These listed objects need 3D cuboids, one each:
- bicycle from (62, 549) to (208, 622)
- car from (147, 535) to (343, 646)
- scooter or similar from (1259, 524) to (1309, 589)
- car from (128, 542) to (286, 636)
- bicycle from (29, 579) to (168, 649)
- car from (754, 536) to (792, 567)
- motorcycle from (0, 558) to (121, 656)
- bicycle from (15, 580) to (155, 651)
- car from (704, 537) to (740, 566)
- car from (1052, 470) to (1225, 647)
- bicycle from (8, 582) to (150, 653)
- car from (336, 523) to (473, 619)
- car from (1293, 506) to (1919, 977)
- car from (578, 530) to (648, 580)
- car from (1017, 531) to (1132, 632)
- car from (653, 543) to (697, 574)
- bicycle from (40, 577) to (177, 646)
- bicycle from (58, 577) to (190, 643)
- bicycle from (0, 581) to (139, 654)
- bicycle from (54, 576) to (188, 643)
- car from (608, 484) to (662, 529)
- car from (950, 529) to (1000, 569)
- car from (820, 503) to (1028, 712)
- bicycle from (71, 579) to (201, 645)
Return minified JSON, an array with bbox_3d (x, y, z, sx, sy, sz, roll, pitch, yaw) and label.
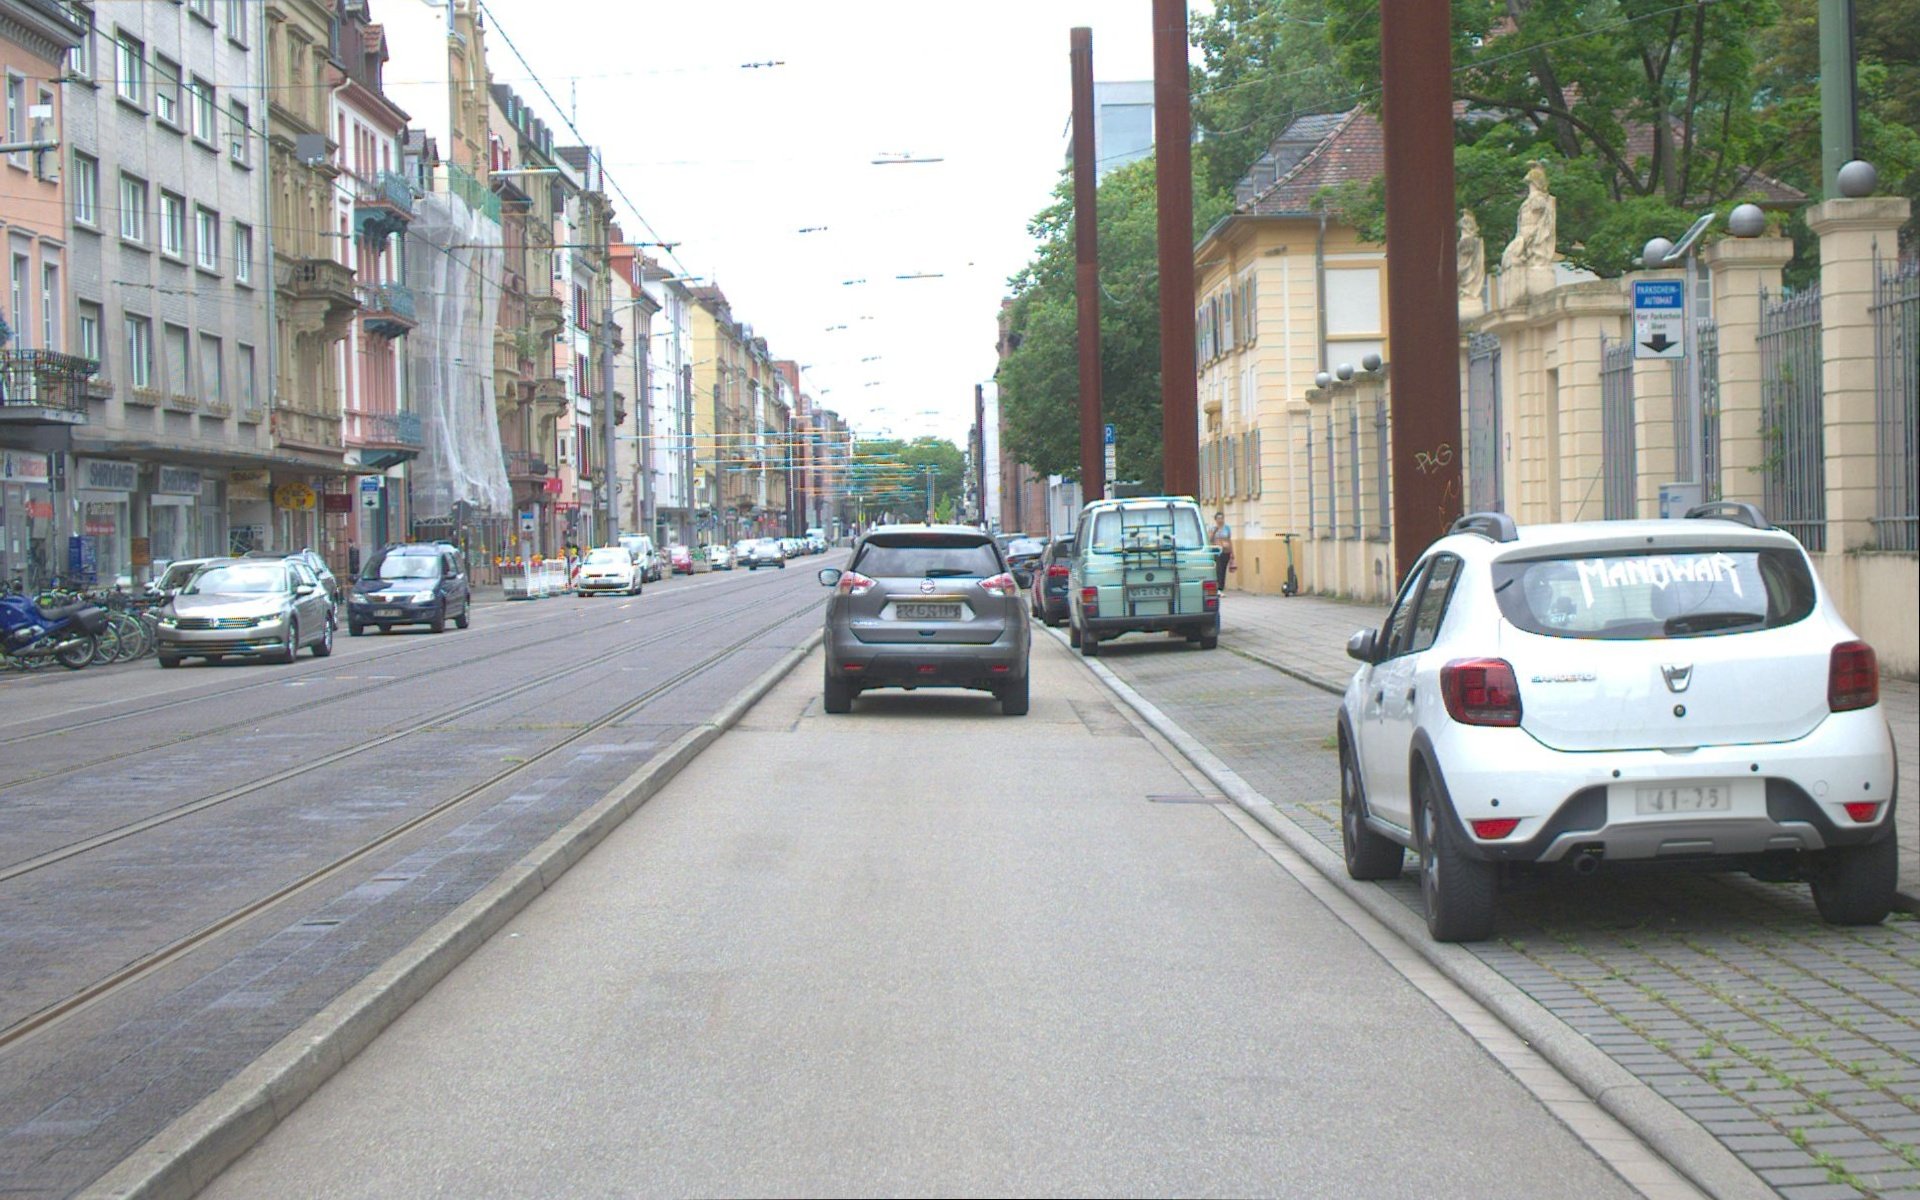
[{"bbox_3d":[-13.386,-0.238,55.822,2.230,1.122,0.504,-1,1,-8],"label":"bicycle"},{"bbox_3d":[-9.936,-0.169,48.084,1.759,1.444,4.614,-1,1,0],"label":"car"},{"bbox_3d":[6.364,-0.841,67.590,0.747,1.246,1.919,-1,0,-1],"label":"scooter or similar"},{"bbox_3d":[-12.969,-0.219,59.453,1.776,1.499,4.402,-1,1,-1],"label":"car"},{"bbox_3d":[-12.968,0.208,51.781,1.965,0.998,0.463,-1,1,-8],"label":"bicycle"},{"bbox_3d":[-10.199,-2.650,187.305,1.993,1.629,4.000,-1,0,-3],"label":"car"},{"bbox_3d":[-12.992,0.097,47.891,2.337,1.298,0.883,-2,1,-36],"label":"motorcycle"},{"bbox_3d":[-13.026,0.230,51.220,1.965,0.998,0.463,-1,1,-8],"label":"bicycle"},{"bbox_3d":[-13.554,-2.759,196.143,1.993,1.629,4.000,-1,0,-3],"label":"car"},{"bbox_3d":[2.315,-0.569,45.753,1.851,2.108,4.985,-4,1,-1],"label":"car"},{"bbox_3d":[-12.950,0.254,50.554,1.965,0.998,0.463,-1,1,-8],"label":"bicycle"},{"bbox_3d":[-10.177,-0.566,63.237,1.759,1.666,4.614,-1,1,0],"label":"car"},{"bbox_3d":[2.511,0.459,14.158,1.755,1.569,3.931,-3,1,-1],"label":"car"},{"bbox_3d":[-10.312,-1.358,102.353,1.687,1.415,4.135,-1,1,-1],"label":"car"},{"bbox_3d":[1.971,-0.350,60.114,1.749,1.590,3.924,-4,1,-1],"label":"car"},{"bbox_3d":[-13.712,-1.985,165.713,1.993,1.459,4.000,-1,0,-3],"label":"car"},{"bbox_3d":[-12.987,0.173,52.445,1.965,0.998,0.463,-1,1,-8],"label":"bicycle"},{"bbox_3d":[-13.222,0.159,54.409,1.965,0.998,0.463,-1,1,-8],"label":"bicycle"},{"bbox_3d":[-12.915,0.250,49.794,1.921,0.998,0.463,-1,1,-8],"label":"bicycle"},{"bbox_3d":[-13.094,0.143,53.674,1.965,0.998,0.463,-1,1,-8],"label":"bicycle"},{"bbox_3d":[-12.920,-3.708,136.853,1.993,1.700,4.000,-1,0,-3],"label":"car"},{"bbox_3d":[0.546,-1.896,127.186,1.776,1.415,4.135,-1,1,-1],"label":"car"},{"bbox_3d":[-0.330,0.024,31.448,1.749,1.750,3.924,1,1,-1],"label":"car"},{"bbox_3d":[-13.220,0.187,55.198,1.965,0.998,0.463,-1,1,-8],"label":"bicycle"}]
